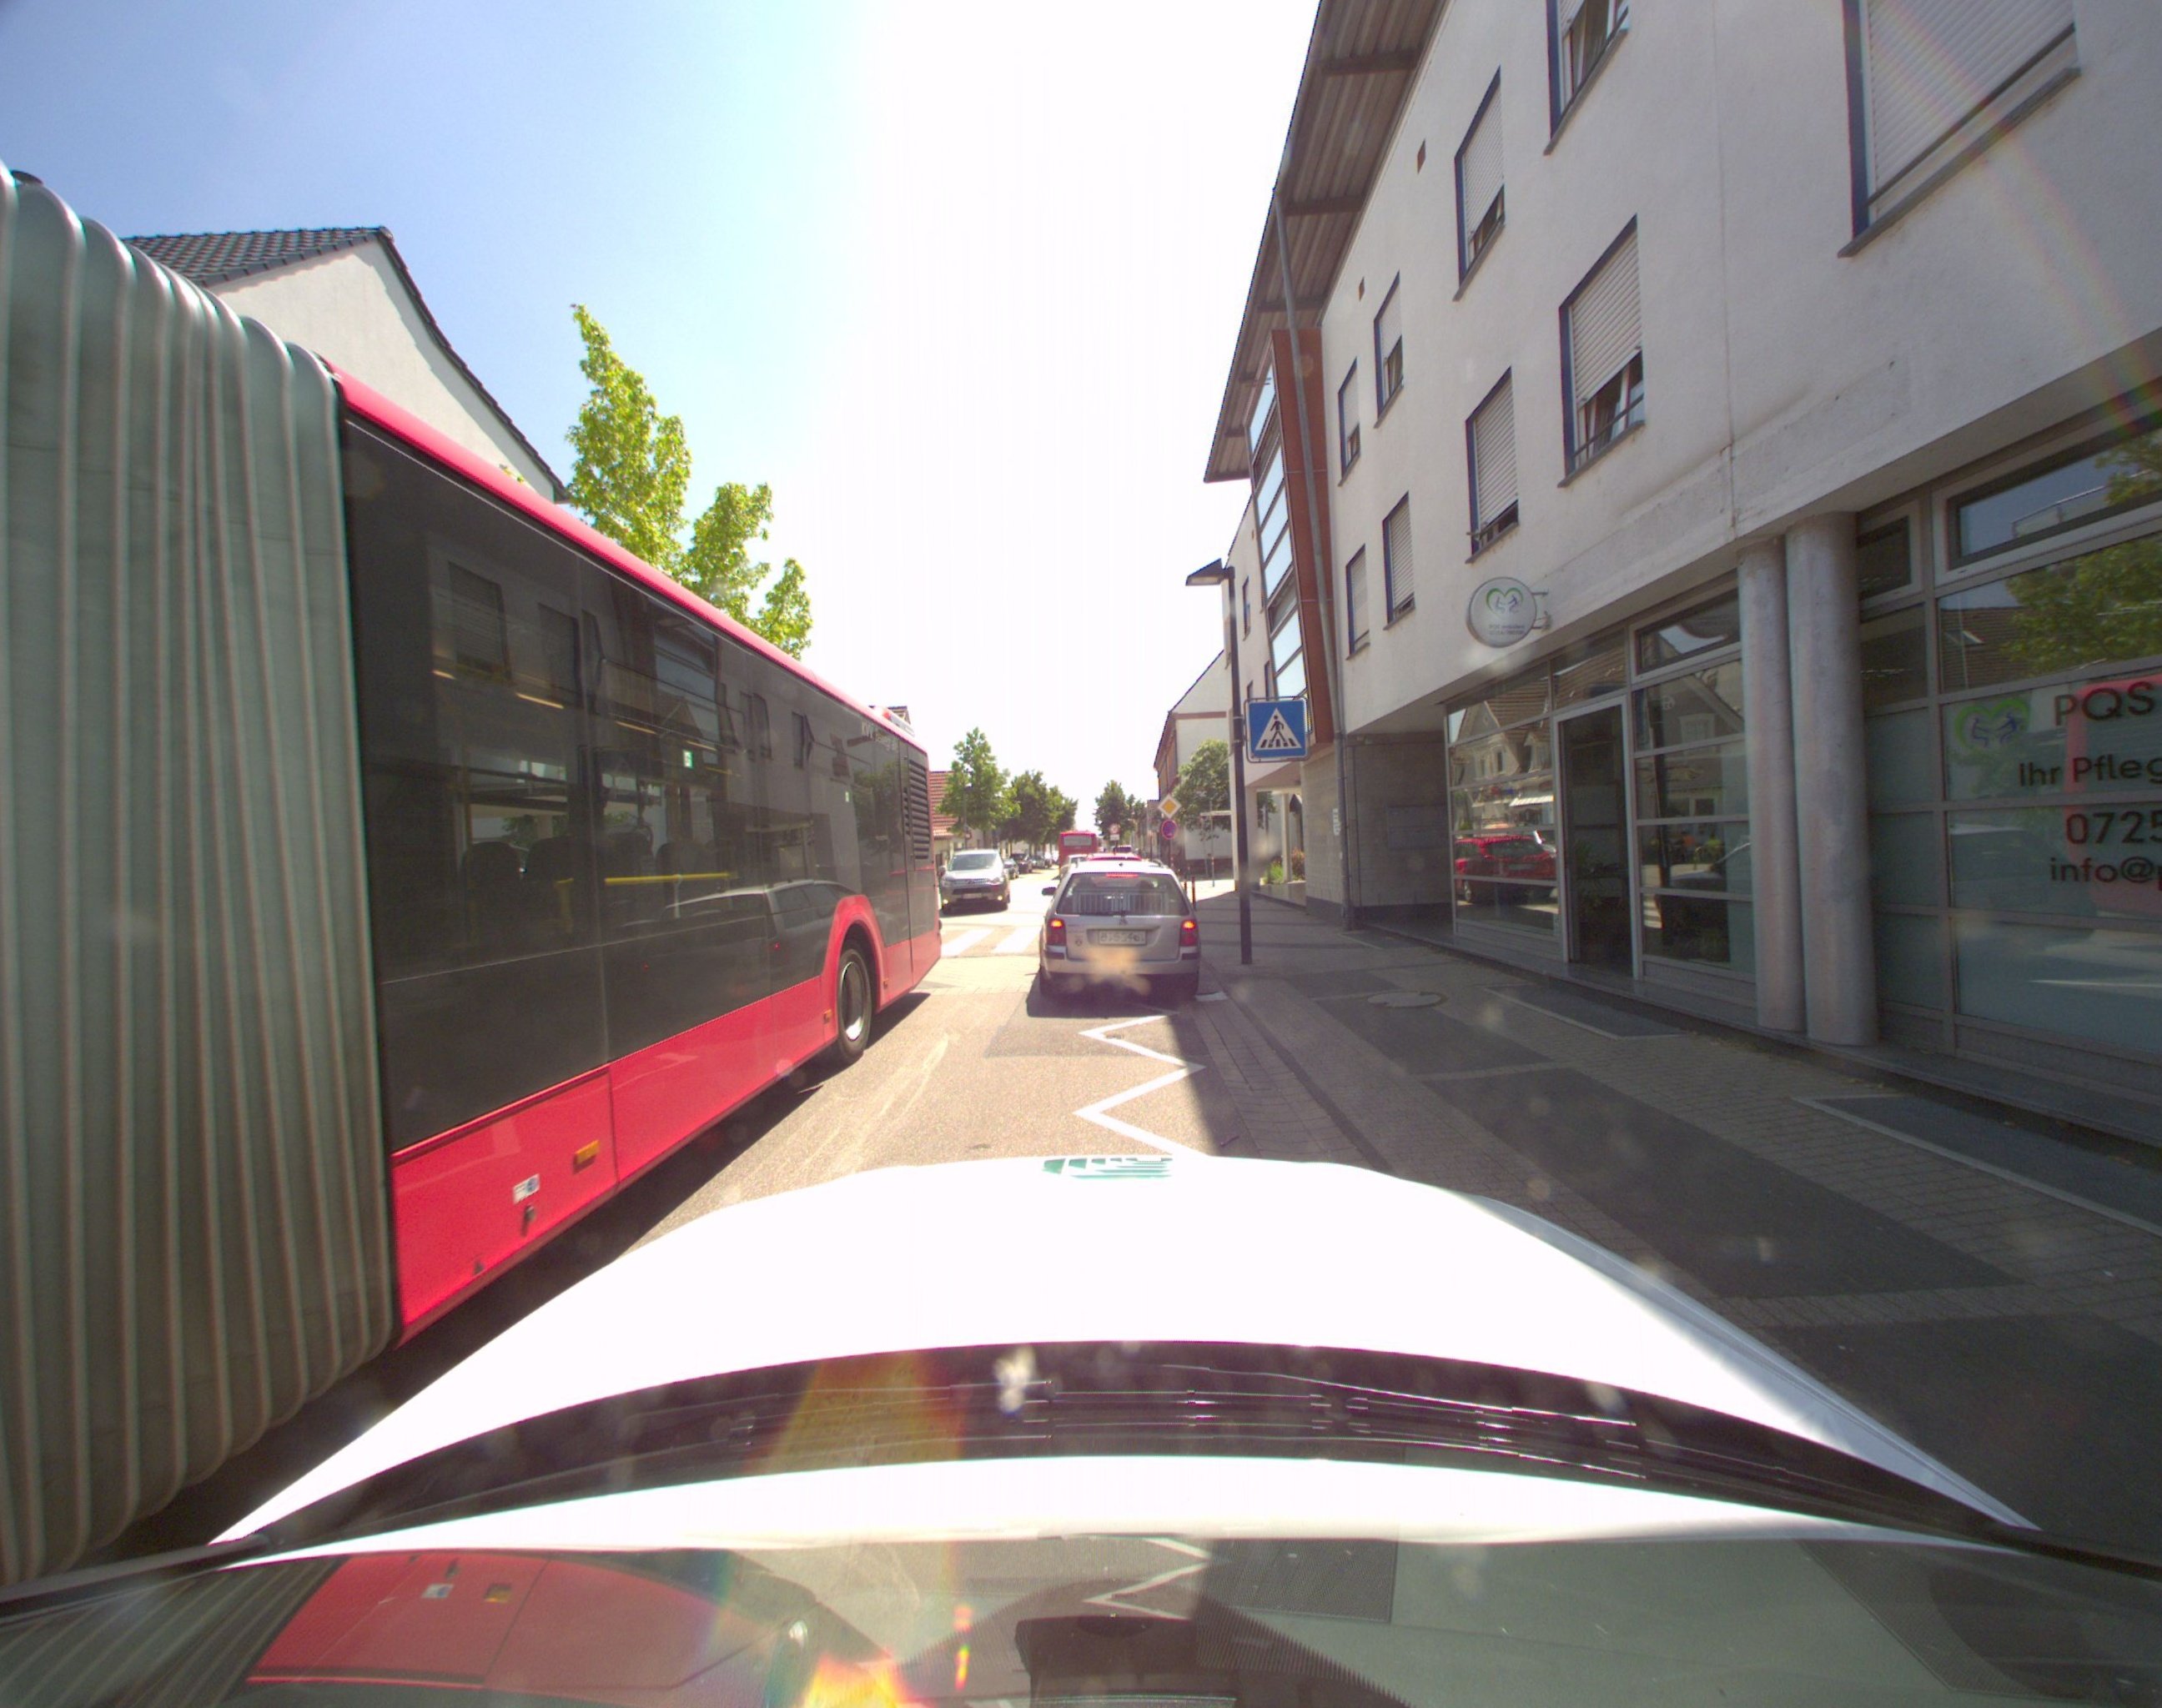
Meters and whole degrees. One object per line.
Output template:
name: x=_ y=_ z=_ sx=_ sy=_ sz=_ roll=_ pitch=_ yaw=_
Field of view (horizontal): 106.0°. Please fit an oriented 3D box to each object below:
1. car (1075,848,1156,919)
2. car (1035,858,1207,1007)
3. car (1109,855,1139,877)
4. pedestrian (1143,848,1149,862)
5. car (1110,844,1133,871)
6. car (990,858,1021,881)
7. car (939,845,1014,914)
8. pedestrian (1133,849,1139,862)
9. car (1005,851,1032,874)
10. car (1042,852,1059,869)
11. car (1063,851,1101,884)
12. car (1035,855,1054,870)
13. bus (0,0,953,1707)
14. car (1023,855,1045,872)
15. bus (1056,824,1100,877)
car: x=0.790 y=0.630 z=19.203 sx=1.671 sy=1.430 sz=3.681 roll=-3 pitch=0 yaw=2
car: x=0.448 y=0.769 z=9.770 sx=1.670 sy=1.430 sz=3.681 roll=0 pitch=0 yaw=2
car: x=2.719 y=0.735 z=51.909 sx=1.713 sy=1.309 sz=3.627 roll=-3 pitch=0 yaw=1
pedestrian: x=7.851 y=0.181 z=98.961 sx=0.604 sy=1.667 sz=0.789 roll=-3 pitch=0 yaw=0
car: x=3.321 y=0.263 z=67.242 sx=1.781 sy=2.082 sz=3.627 roll=-3 pitch=0 yaw=1
car: x=-5.242 y=1.046 z=56.769 sx=1.599 sy=1.438 sz=4.066 roll=-3 pitch=0 yaw=1
car: x=-2.886 y=0.664 z=23.201 sx=1.671 sy=1.716 sz=4.228 roll=-3 pitch=0 yaw=-2
pedestrian: x=6.720 y=0.179 z=99.215 sx=0.604 sy=1.667 sz=0.789 roll=-3 pitch=0 yaw=0
car: x=-5.231 y=0.711 z=68.441 sx=1.758 sy=1.838 sz=3.790 roll=-3 pitch=0 yaw=1
car: x=-3.765 y=0.850 z=102.183 sx=1.805 sy=1.995 sz=4.001 roll=-3 pitch=0 yaw=1
car: x=0.072 y=0.603 z=38.629 sx=1.587 sy=1.430 sz=3.682 roll=-1 pitch=0 yaw=3
car: x=-4.016 y=0.958 z=89.880 sx=1.805 sy=1.559 sz=4.001 roll=-3 pitch=0 yaw=1
bus: x=-3.172 y=0.035 z=1.015 sx=2.659 sy=3.123 sz=17.811 roll=-3 pitch=0 yaw=1
car: x=-4.777 y=0.940 z=83.363 sx=1.805 sy=1.559 sz=4.001 roll=-3 pitch=0 yaw=1
bus: x=-0.153 y=-0.214 z=58.319 sx=2.731 sy=3.298 sz=12.704 roll=-2 pitch=0 yaw=0
